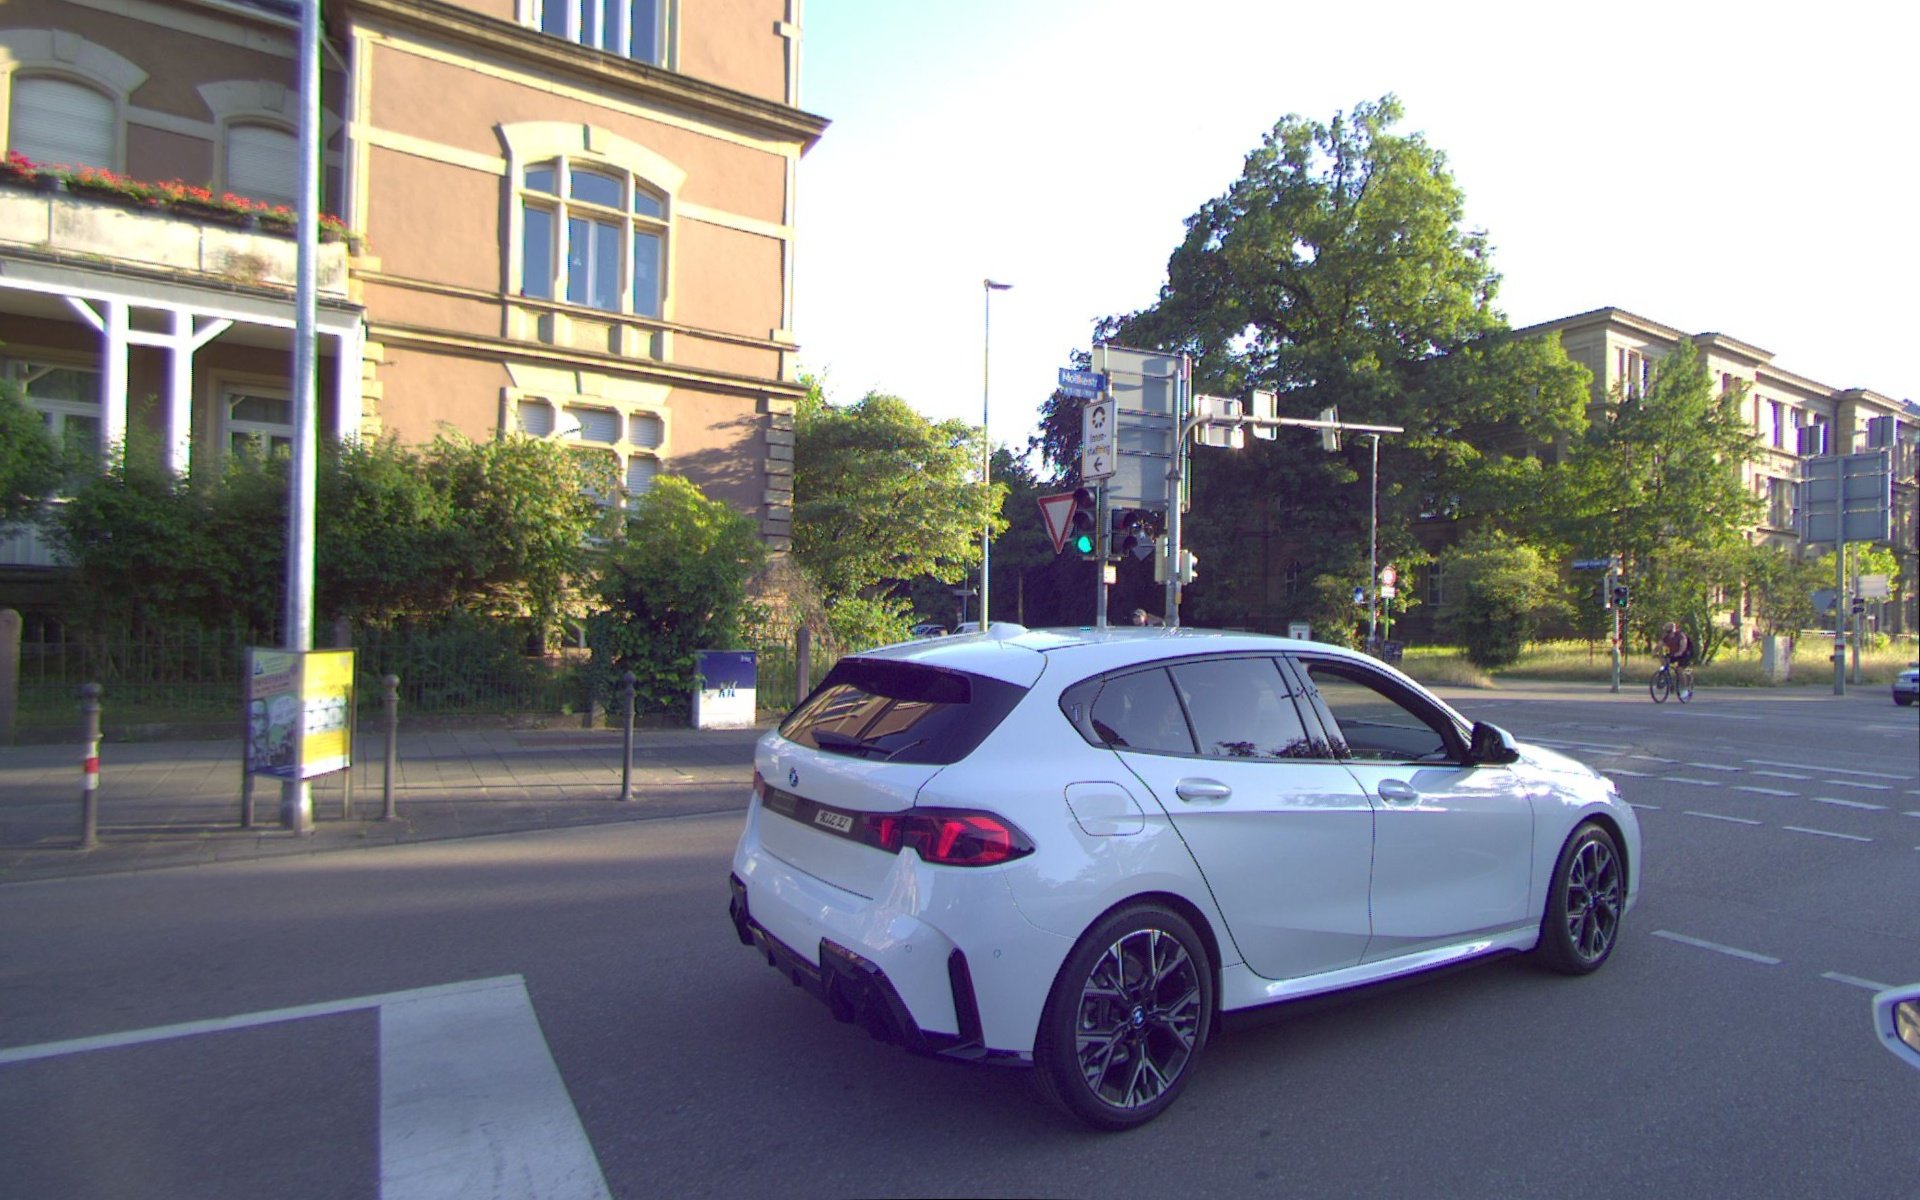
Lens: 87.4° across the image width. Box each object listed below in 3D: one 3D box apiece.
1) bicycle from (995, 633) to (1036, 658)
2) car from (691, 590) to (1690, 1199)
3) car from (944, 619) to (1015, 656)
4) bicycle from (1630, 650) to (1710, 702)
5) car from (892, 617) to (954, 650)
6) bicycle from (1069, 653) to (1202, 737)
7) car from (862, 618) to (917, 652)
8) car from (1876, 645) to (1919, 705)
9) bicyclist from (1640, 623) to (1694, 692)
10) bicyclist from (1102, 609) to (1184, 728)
[{"bbox_3d":[2.755,2.242,49.975,1.852,1.171,0.748,2,0,-26],"label":"bicycle"},{"bbox_3d":[1.163,0.794,4.286,4.142,1.485,1.743,2,-2,-32],"label":"car"},{"bbox_3d":[0.976,1.943,53.159,1.841,1.870,4.086,2,-2,-31],"label":"car"},{"bbox_3d":[16.164,1.714,22.859,2.144,1.138,0.683,2,-2,-31],"label":"bicycle"},{"bbox_3d":[-2.197,1.925,58.319,1.841,1.870,4.155,2,-2,-30],"label":"car"},{"bbox_3d":[2.543,1.342,14.472,1.881,1.104,0.655,2,0,-31],"label":"bicycle"},{"bbox_3d":[-4.404,2.136,62.516,1.914,2.040,3.970,2,-2,-29],"label":"car"},{"bbox_3d":[24.811,1.864,24.936,4.086,1.427,1.724,2,-2,-27],"label":"car"},{"bbox_3d":[16.048,1.290,22.795,0.945,1.532,0.680,2,-1,-31],"label":"bicyclist"},{"bbox_3d":[2.643,0.974,14.510,0.904,1.654,0.648,2,0,-30],"label":"bicyclist"}]
